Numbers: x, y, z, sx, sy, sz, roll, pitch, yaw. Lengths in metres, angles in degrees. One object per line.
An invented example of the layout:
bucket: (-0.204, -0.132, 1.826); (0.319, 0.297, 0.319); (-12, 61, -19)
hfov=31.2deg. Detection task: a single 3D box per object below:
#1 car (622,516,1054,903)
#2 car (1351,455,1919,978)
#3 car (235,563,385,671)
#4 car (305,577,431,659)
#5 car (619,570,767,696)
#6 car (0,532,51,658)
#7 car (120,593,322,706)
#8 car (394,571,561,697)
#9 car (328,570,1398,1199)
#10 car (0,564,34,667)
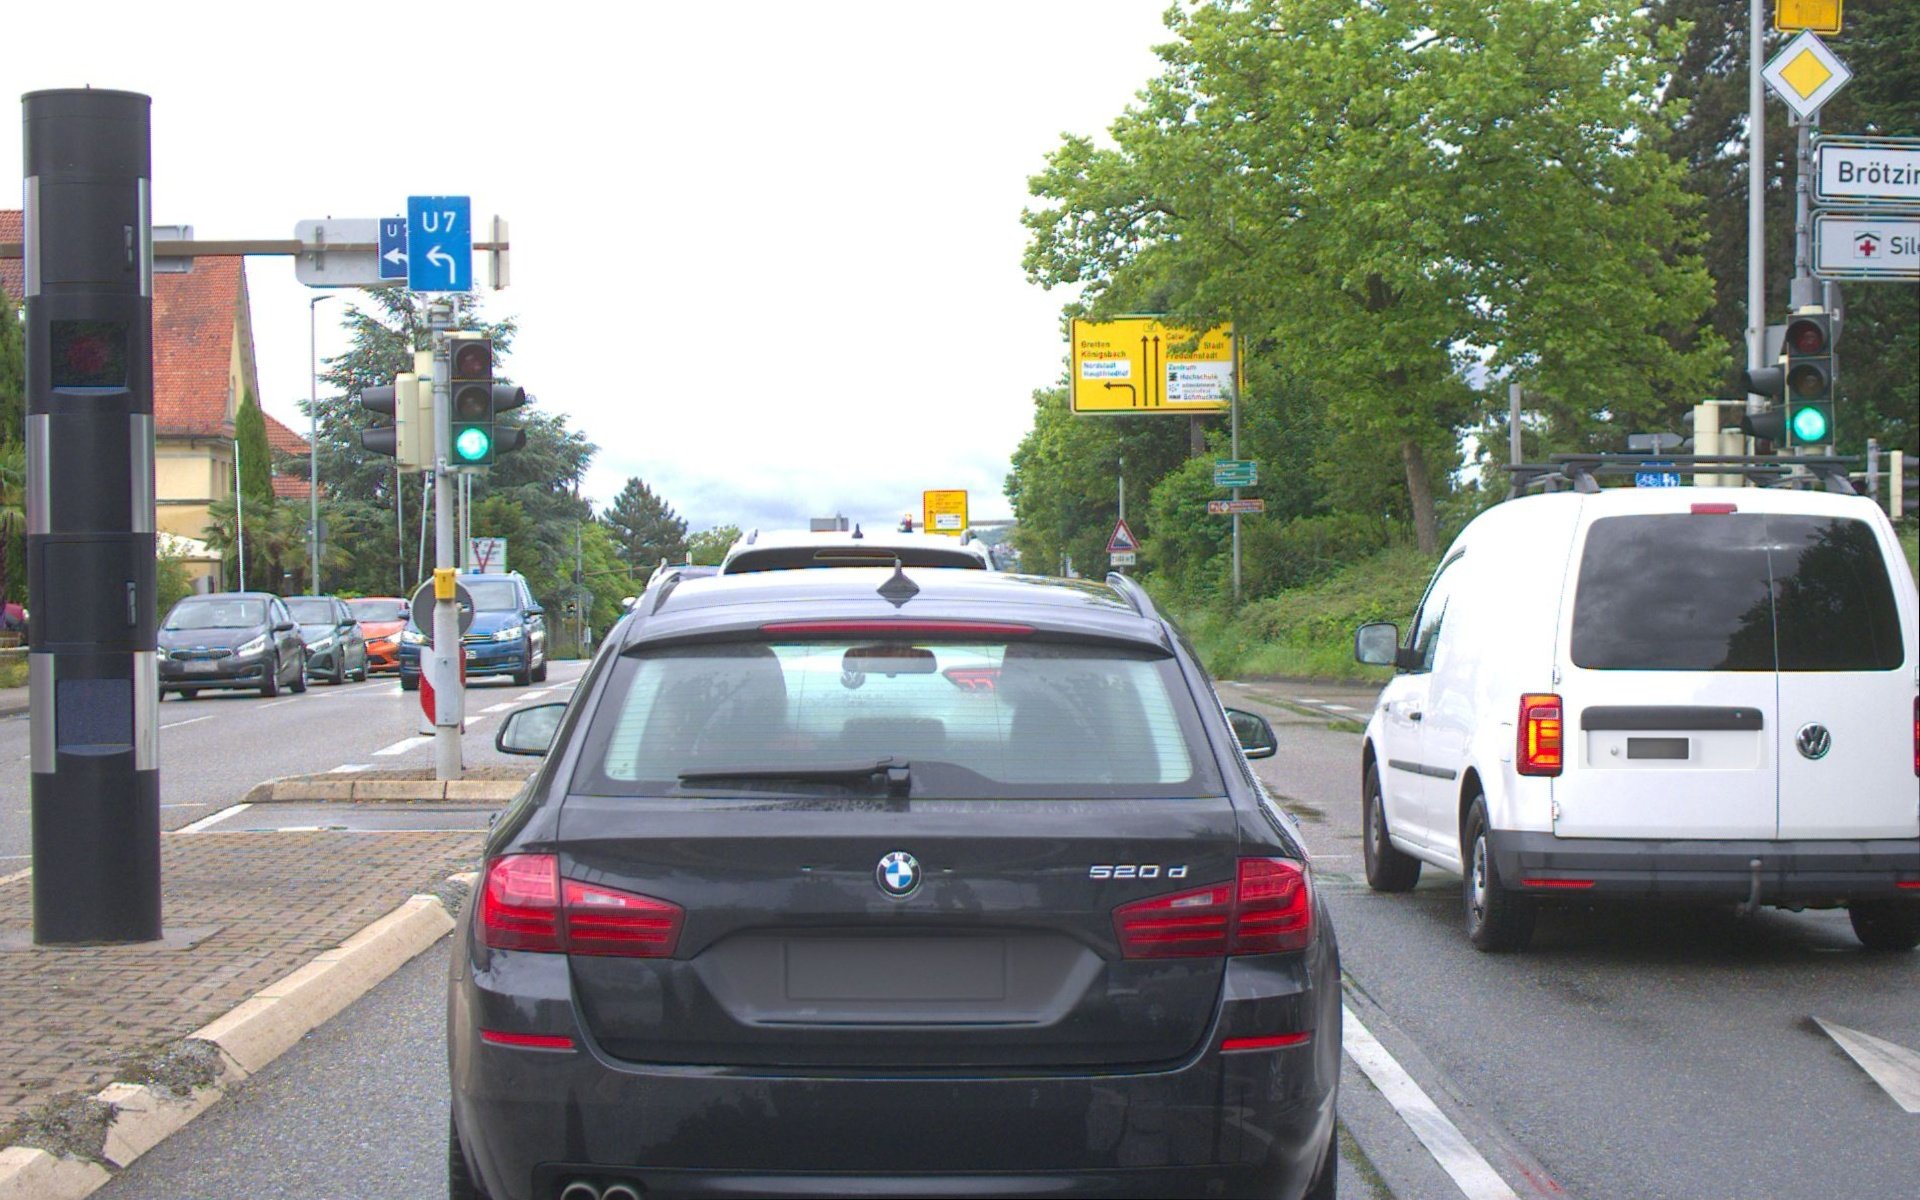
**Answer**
car: (-0.545, 0.435, 16.934); (1.868, 1.668, 4.000); (0, 1, 0)
car: (2.772, 0.381, 14.238); (1.764, 1.871, 3.805); (0, 1, -1)
car: (-10.452, 0.244, 55.509); (1.676, 1.612, 4.000); (-2, 1, -1)
car: (-10.550, 0.300, 61.459); (1.622, 1.327, 3.947); (-2, 1, -1)
car: (-3.695, 0.418, 48.158); (1.839, 1.644, 4.298); (-1, 1, -2)
car: (-17.206, -0.001, 55.637); (4.385, 2.007, 2.000); (-3, 1, -29)
car: (-10.128, 0.648, 47.388); (1.917, 1.375, 4.125); (-2, 1, -1)
car: (-6.851, 0.448, 49.183); (1.839, 1.644, 4.298); (-2, 1, -2)
car: (-0.190, 0.678, 8.121); (1.899, 1.436, 4.000); (0, 1, 0)
car: (-18.455, 0.376, 58.139); (4.996, 1.697, 2.000); (-3, -2, -28)
